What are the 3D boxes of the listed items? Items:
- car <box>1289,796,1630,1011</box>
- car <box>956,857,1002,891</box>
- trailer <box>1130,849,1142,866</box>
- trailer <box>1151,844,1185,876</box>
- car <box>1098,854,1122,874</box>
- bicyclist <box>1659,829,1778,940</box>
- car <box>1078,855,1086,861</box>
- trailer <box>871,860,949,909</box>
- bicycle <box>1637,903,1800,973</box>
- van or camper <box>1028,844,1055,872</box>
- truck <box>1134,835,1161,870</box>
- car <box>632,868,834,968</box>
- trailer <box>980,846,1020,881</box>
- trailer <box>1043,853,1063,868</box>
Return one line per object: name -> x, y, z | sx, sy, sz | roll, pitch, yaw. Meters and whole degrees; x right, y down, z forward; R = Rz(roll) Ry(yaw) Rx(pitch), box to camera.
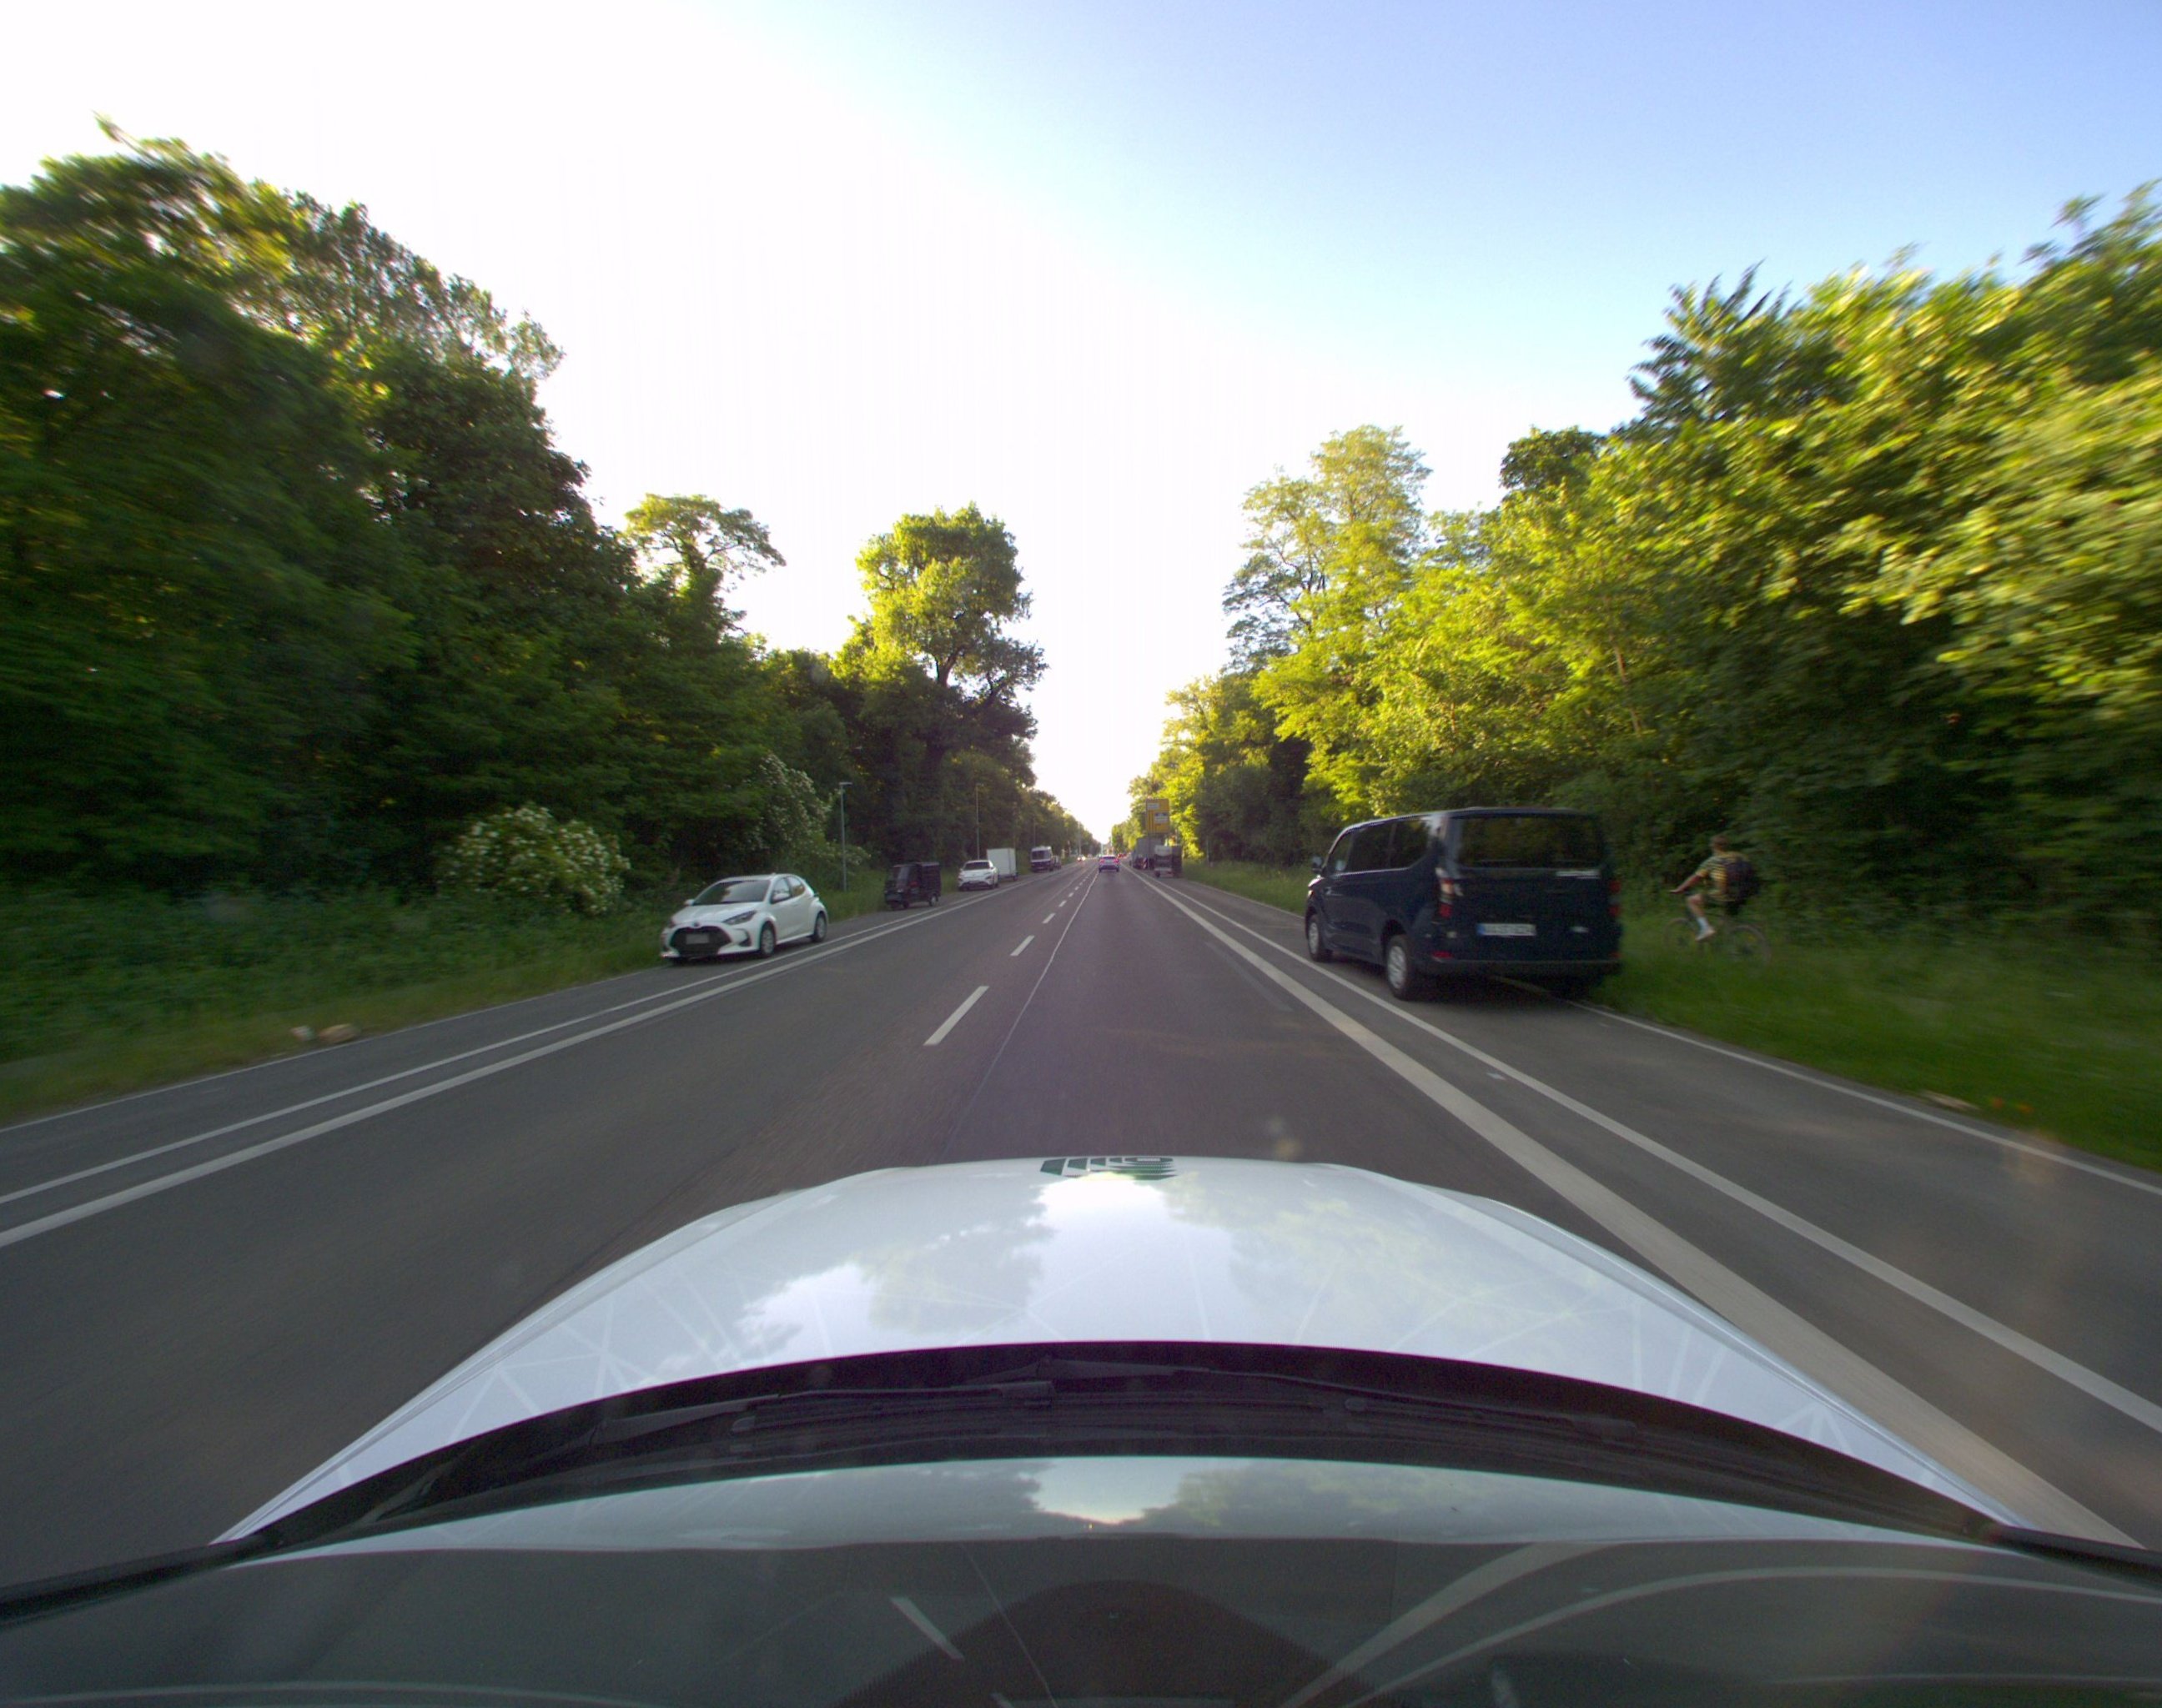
car -> 4.208, 0.465, 10.194 | 2.105, 2.013, 5.042 | 0, 0, 2
car -> -5.360, 1.025, 43.237 | 1.808, 1.571, 4.206 | -4, 0, 0
trailer -> 7.296, 0.420, 107.747 | 1.494, 2.235, 4.552 | 0, 0, 2
trailer -> 5.812, 0.382, 54.520 | 1.600, 2.112, 2.409 | -1, 0, 22
car -> 2.609, 0.853, 73.044 | 1.986, 1.640, 4.002 | -2, 0, 2
bicyclist -> 8.093, 0.367, 10.392 | 0.608, 1.324, 1.176 | -1, 0, 2
car -> 0.186, 0.942, 190.692 | 1.672, 1.415, 4.002 | -2, 0, 2
trailer -> -5.947, 1.028, 28.593 | 1.383, 1.574, 2.689 | -2, 0, 22
bicycle -> 8.124, 1.042, 10.511 | 0.589, 0.692, 1.997 | -1, 0, 2
van or camper -> -4.221, 0.432, 87.626 | 2.293, 2.768, 5.559 | -4, 0, 2
truck -> 6.814, -0.139, 84.073 | 2.495, 3.366, 7.111 | -1, 0, 2
car -> -6.361, 1.086, 15.472 | 1.860, 1.450, 4.073 | -4, 0, 2
trailer -> -5.622, 0.623, 56.905 | 2.066, 2.293, 3.490 | -3, 0, 4
trailer -> -3.425, 0.812, 101.043 | 1.459, 1.659, 3.379 | -4, -1, 14
